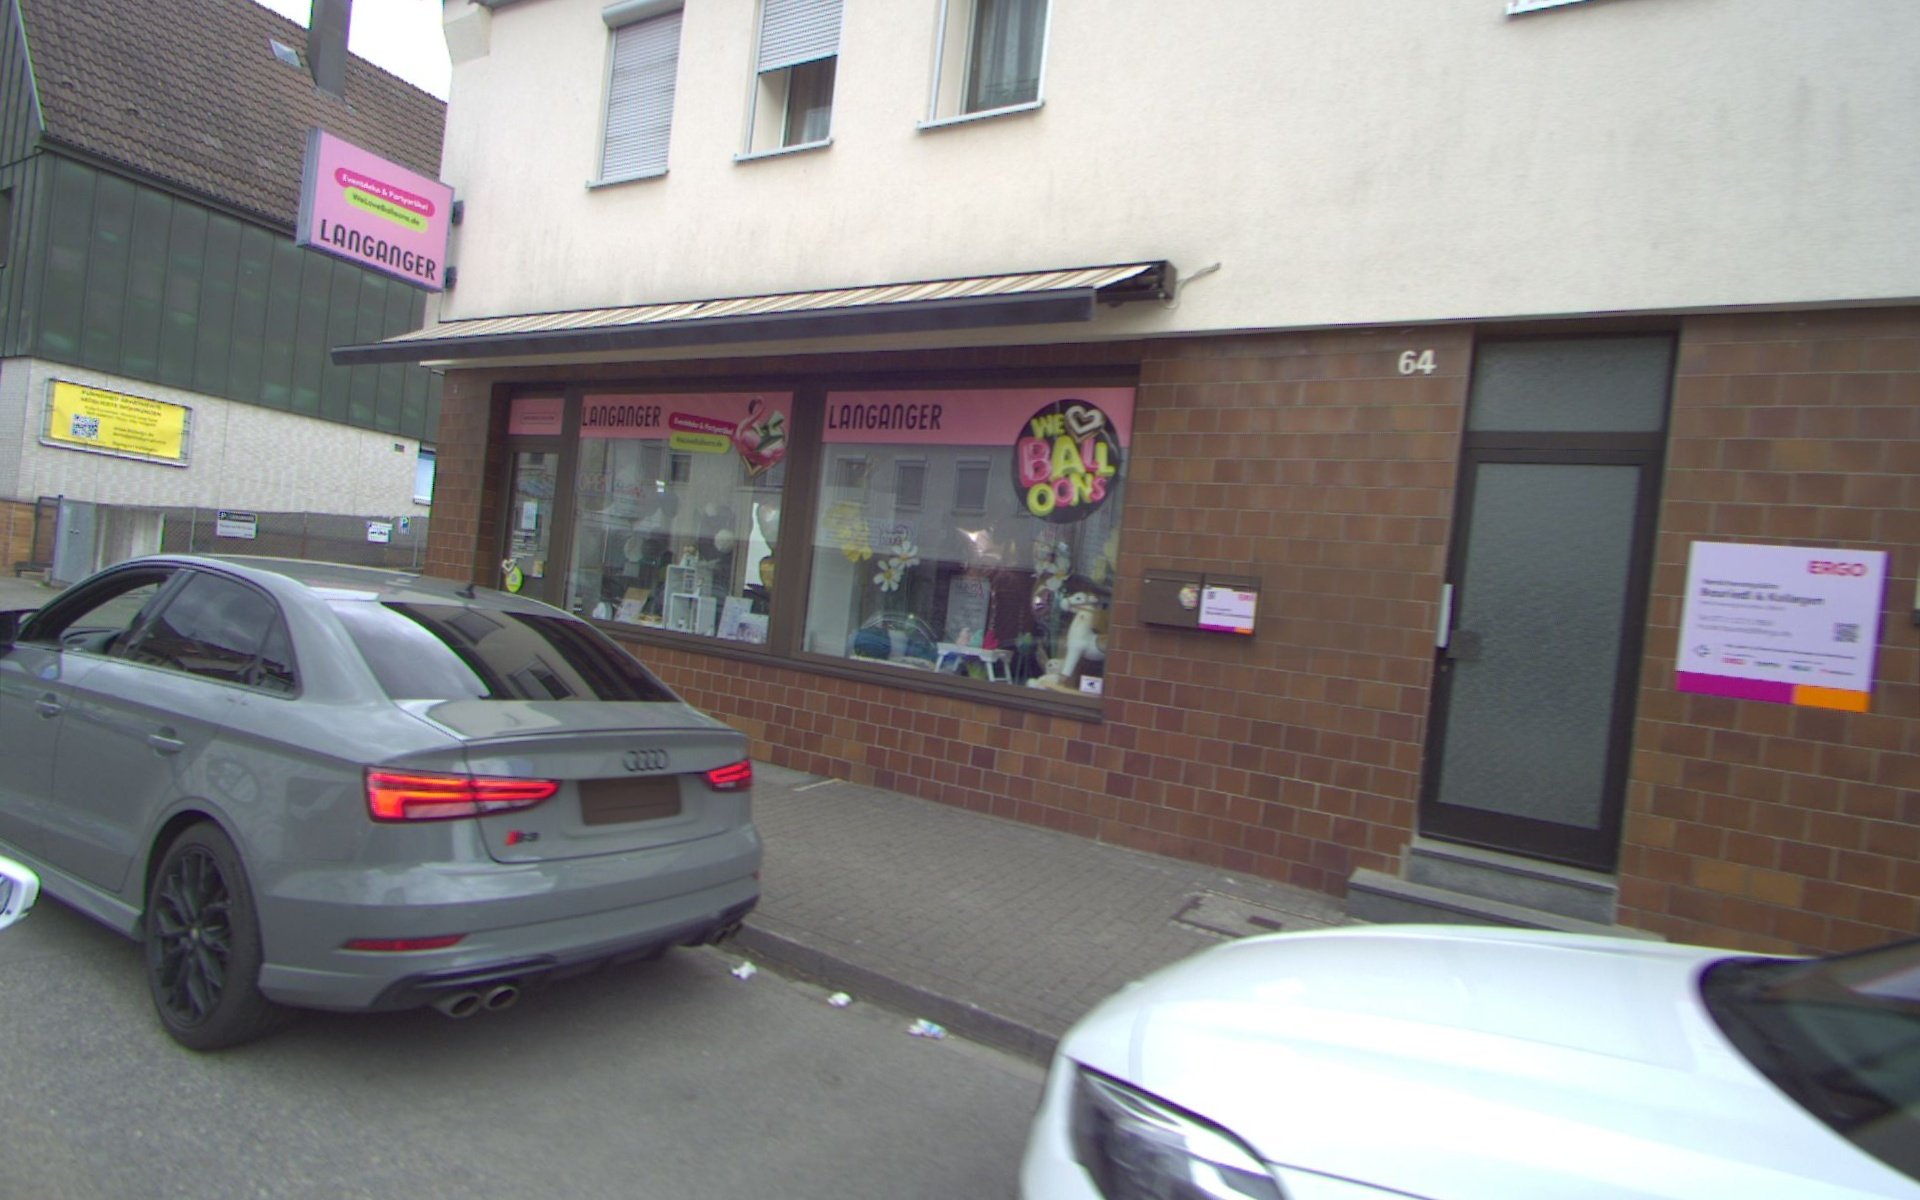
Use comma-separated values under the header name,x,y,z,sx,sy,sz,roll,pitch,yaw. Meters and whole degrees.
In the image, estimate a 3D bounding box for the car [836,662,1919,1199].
name,x,y,z,sx,sy,sz,roll,pitch,yaw
car,2.096,1.112,1.236,4.258,1.462,1.835,6,-2,30

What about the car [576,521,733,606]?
name,x,y,z,sx,sy,sz,roll,pitch,yaw
car,-7.204,-0.888,23.525,1.912,1.676,3.952,3,2,-43

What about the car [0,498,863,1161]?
name,x,y,z,sx,sy,sz,roll,pitch,yaw
car,-2.656,0.496,4.201,4.040,1.462,1.835,6,-2,30
